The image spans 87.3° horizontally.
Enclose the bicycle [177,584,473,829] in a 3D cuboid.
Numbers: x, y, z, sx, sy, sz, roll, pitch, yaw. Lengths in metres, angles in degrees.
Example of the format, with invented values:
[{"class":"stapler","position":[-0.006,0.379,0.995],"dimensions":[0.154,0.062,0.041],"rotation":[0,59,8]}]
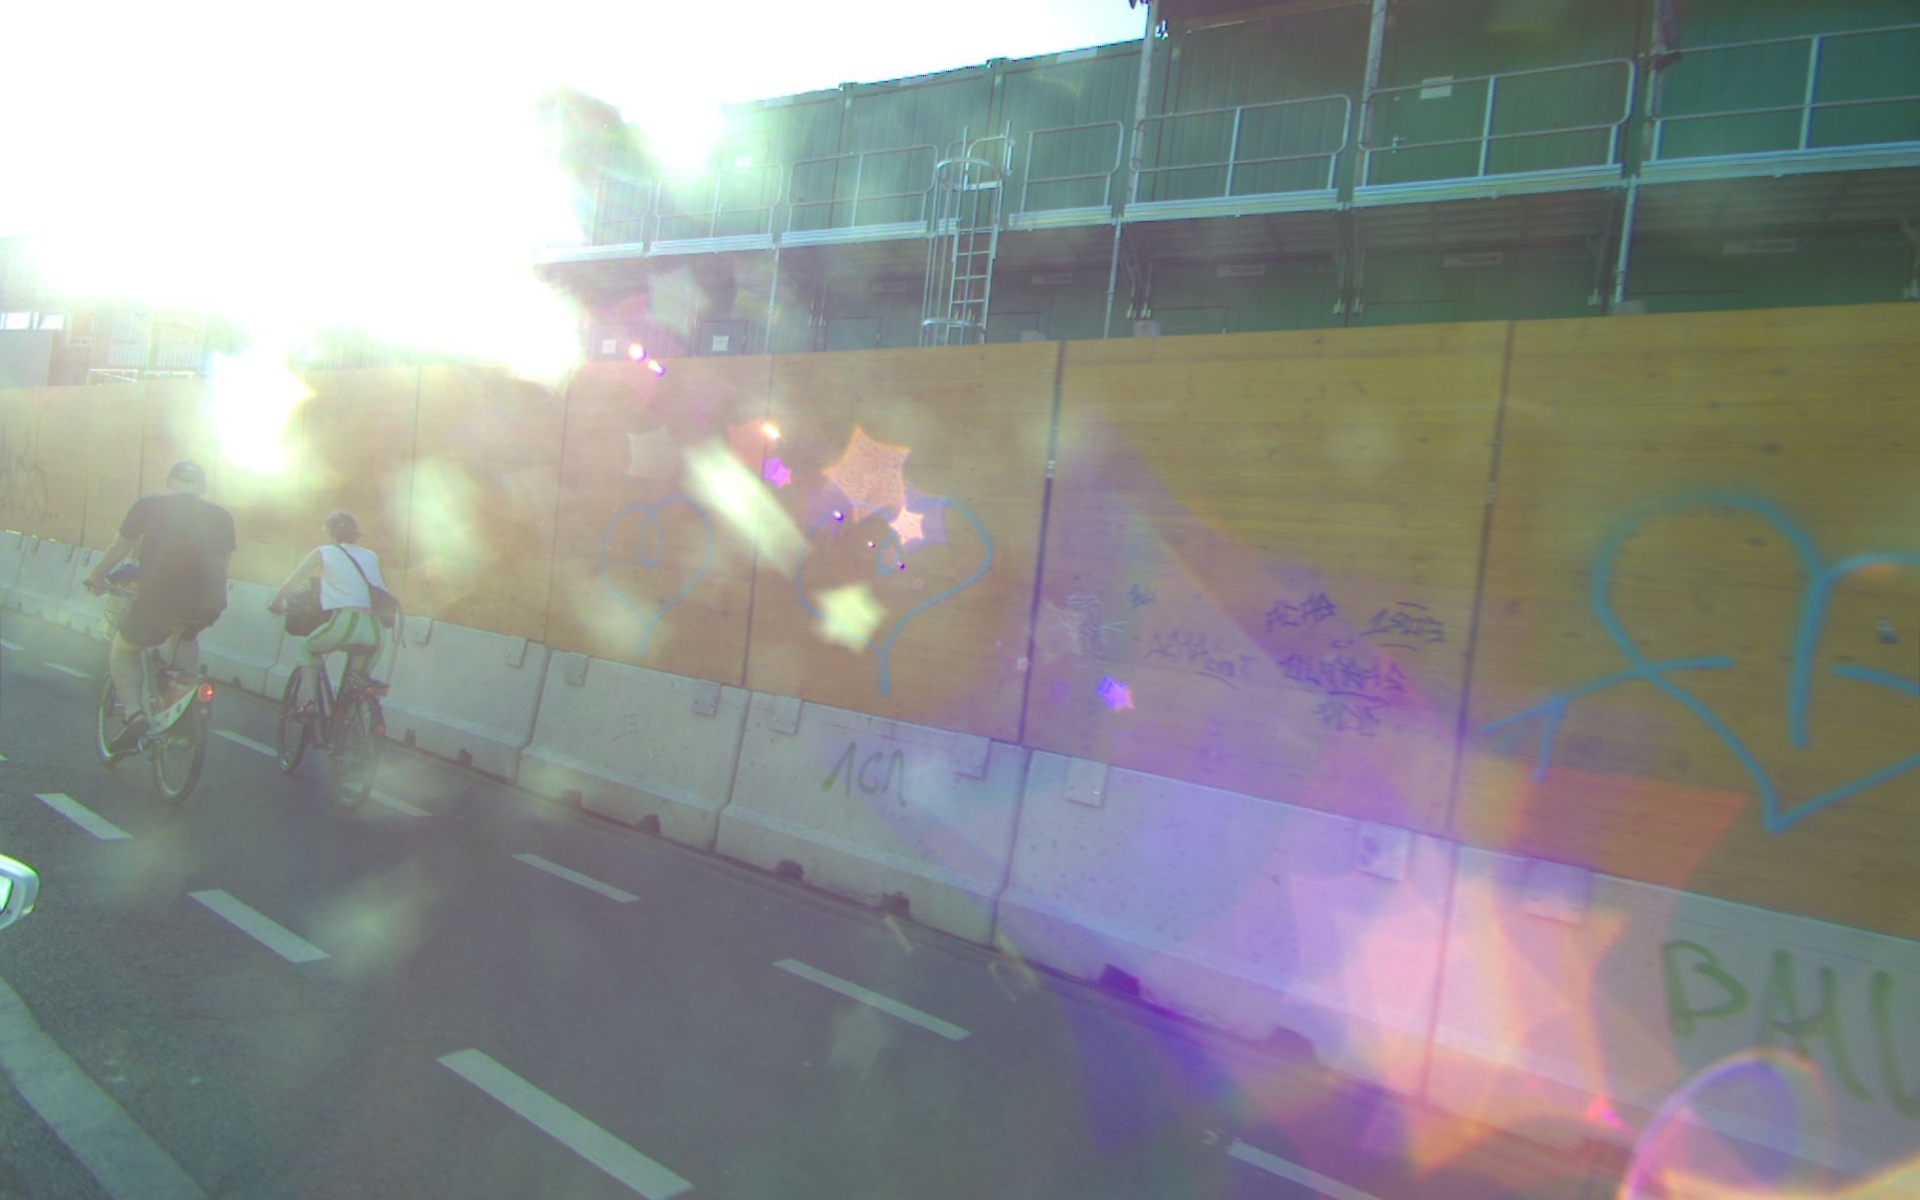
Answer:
[{"class":"bicycle","position":[-4.062,0.597,6.352],"dimensions":[2.238,1.141,0.558],"rotation":[7,1,31]}]

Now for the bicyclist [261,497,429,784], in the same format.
[{"class":"bicyclist","position":[-3.768,0.236,6.176],"dimensions":[0.567,1.633,0.556],"rotation":[7,2,31]}]

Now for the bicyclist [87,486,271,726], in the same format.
[{"class":"bicyclist","position":[-4.382,0.043,5.664],"dimensions":[0.348,1.253,0.652],"rotation":[7,1,31]}]

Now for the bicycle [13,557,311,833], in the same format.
[{"class":"bicycle","position":[-4.615,0.461,5.744],"dimensions":[2.241,1.168,0.667],"rotation":[7,-1,36]}]
